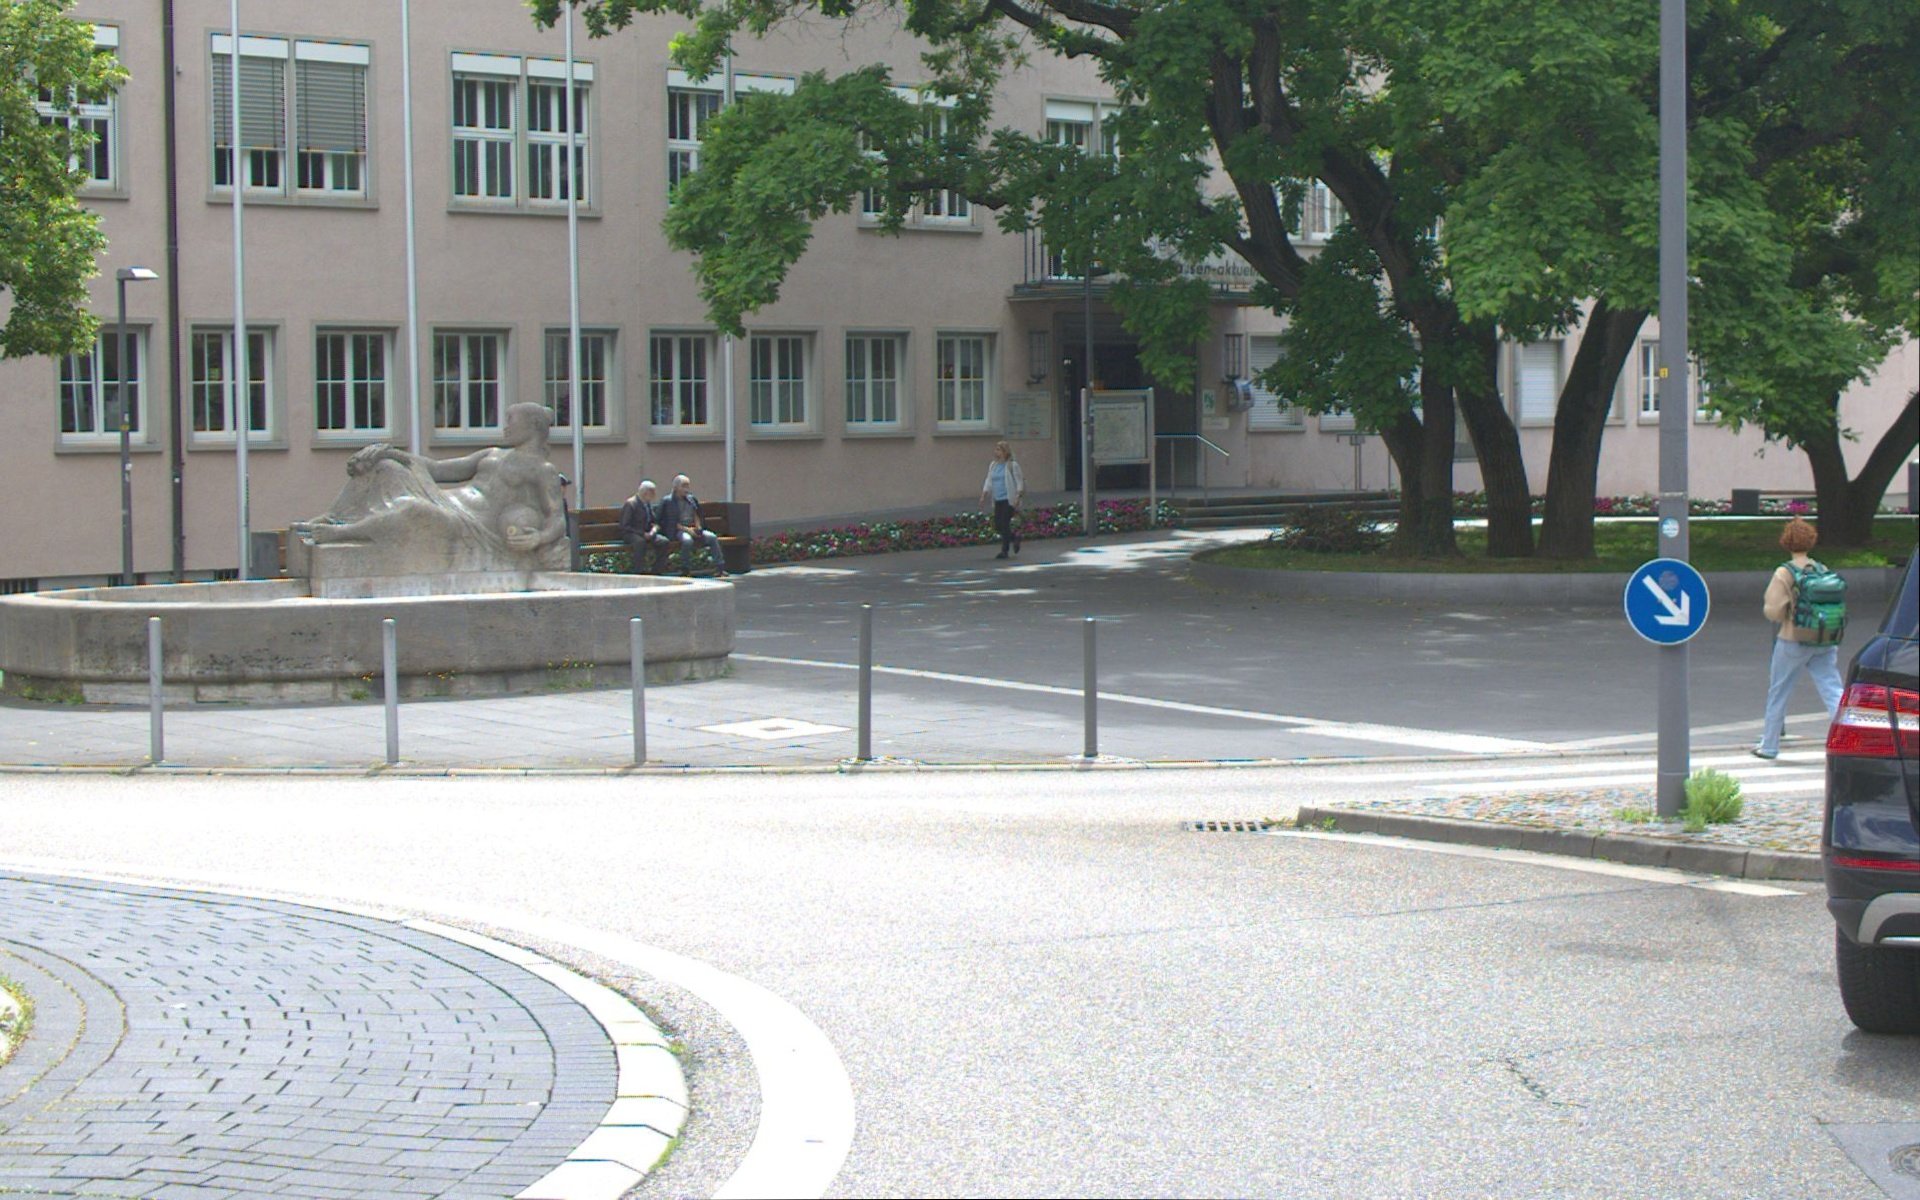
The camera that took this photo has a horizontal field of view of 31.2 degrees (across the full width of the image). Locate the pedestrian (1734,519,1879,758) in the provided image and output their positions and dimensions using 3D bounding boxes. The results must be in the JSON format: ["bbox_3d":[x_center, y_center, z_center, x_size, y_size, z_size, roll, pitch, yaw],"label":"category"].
[{"bbox_3d":[5.611,0.242,22.821,0.550,1.509,0.788,-3,5,-26],"label":"pedestrian"}]

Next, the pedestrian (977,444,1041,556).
[{"bbox_3d":[0.656,-1.348,46.490,0.698,1.487,0.815,0,1,-11],"label":"pedestrian"}]

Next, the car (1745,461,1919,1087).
[{"bbox_3d":[4.120,0.419,11.156,2.030,1.721,4.427,0,2,27],"label":"car"}]

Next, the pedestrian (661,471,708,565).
[{"bbox_3d":[-3.586,-1.066,44.727,0.486,1.218,0.580,1,1,7],"label":"pedestrian"}]

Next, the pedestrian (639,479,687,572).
[{"bbox_3d":[-3.805,-0.958,44.046,0.486,1.178,0.580,1,1,7],"label":"pedestrian"}]

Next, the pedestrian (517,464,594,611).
[{"bbox_3d":[-4.327,-0.672,36.746,0.636,1.518,0.577,0,5,-25],"label":"pedestrian"}]

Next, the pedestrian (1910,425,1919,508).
[{"bbox_3d":[18.501,-2.529,65.155,0.786,1.571,0.636,-2,2,-39],"label":"pedestrian"}]
